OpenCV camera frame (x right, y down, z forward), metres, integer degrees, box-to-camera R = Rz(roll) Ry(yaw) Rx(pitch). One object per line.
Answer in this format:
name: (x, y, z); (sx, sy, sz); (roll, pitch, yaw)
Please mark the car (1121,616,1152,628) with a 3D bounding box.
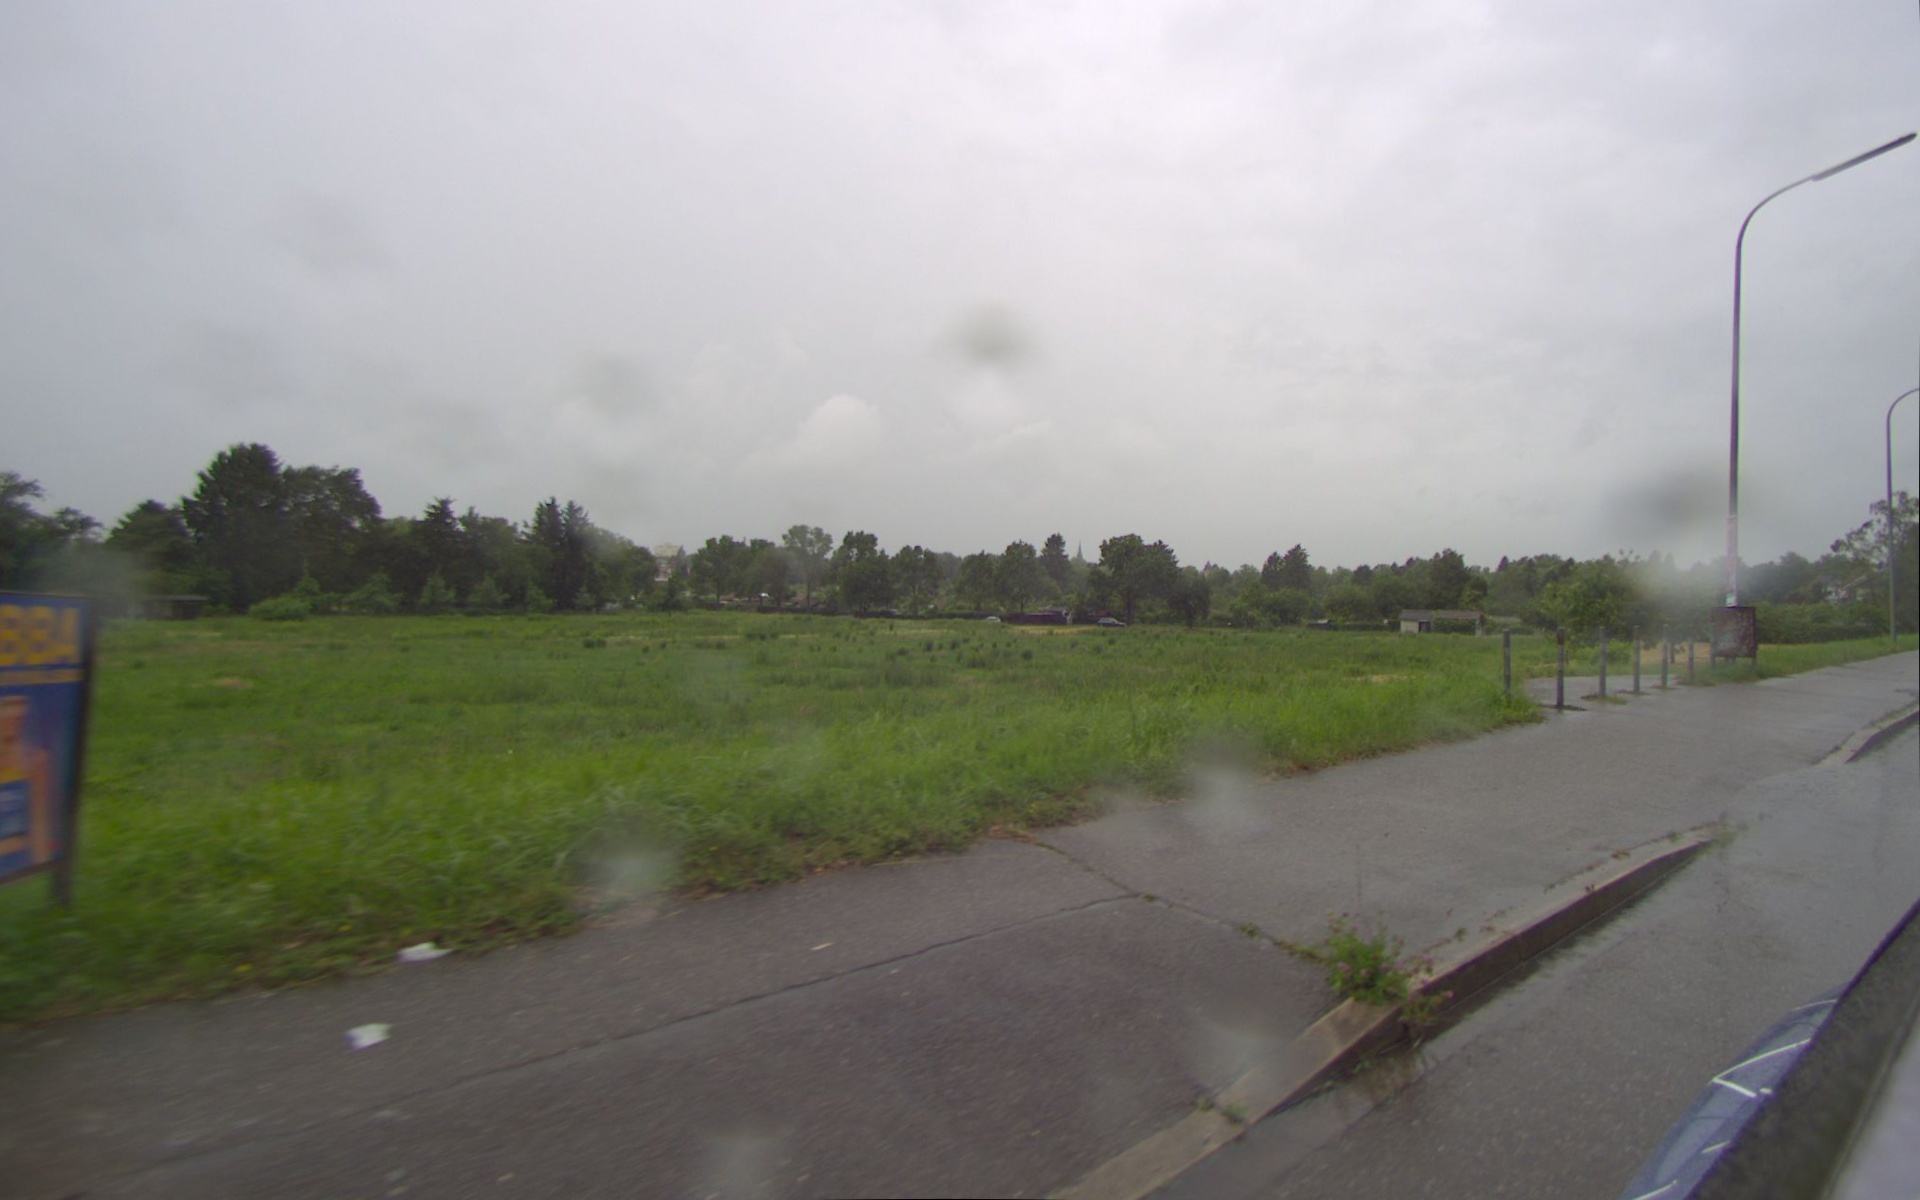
car: (24.719, 3.114, 141.707); (3.983, 1.529, 1.773); (0, 0, 41)
